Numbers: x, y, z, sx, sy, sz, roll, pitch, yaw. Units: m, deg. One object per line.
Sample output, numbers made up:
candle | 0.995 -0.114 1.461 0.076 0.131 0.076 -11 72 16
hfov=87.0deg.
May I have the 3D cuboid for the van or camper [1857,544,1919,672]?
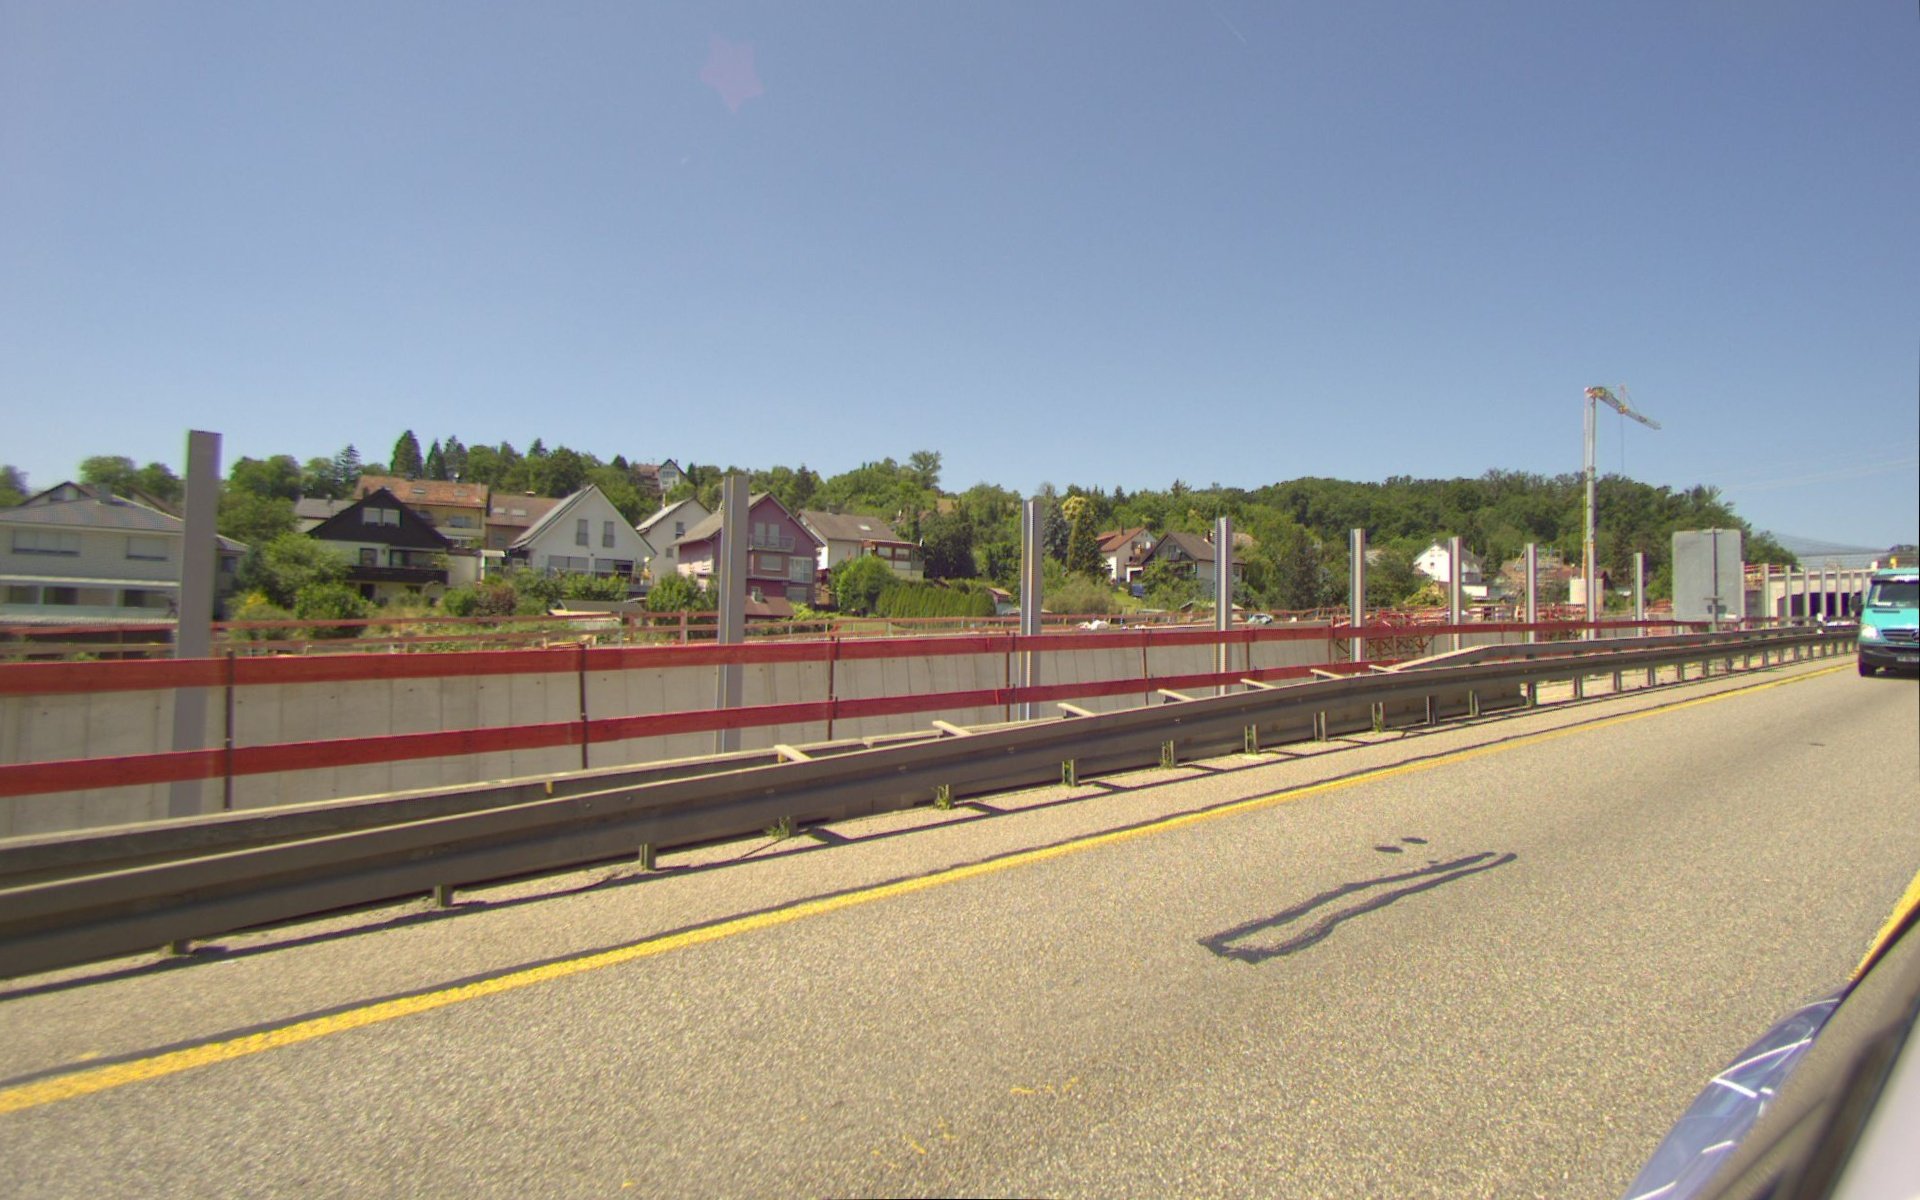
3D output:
van or camper | 21.706 0.166 22.206 7.537 2.504 2.096 0 0 -41
